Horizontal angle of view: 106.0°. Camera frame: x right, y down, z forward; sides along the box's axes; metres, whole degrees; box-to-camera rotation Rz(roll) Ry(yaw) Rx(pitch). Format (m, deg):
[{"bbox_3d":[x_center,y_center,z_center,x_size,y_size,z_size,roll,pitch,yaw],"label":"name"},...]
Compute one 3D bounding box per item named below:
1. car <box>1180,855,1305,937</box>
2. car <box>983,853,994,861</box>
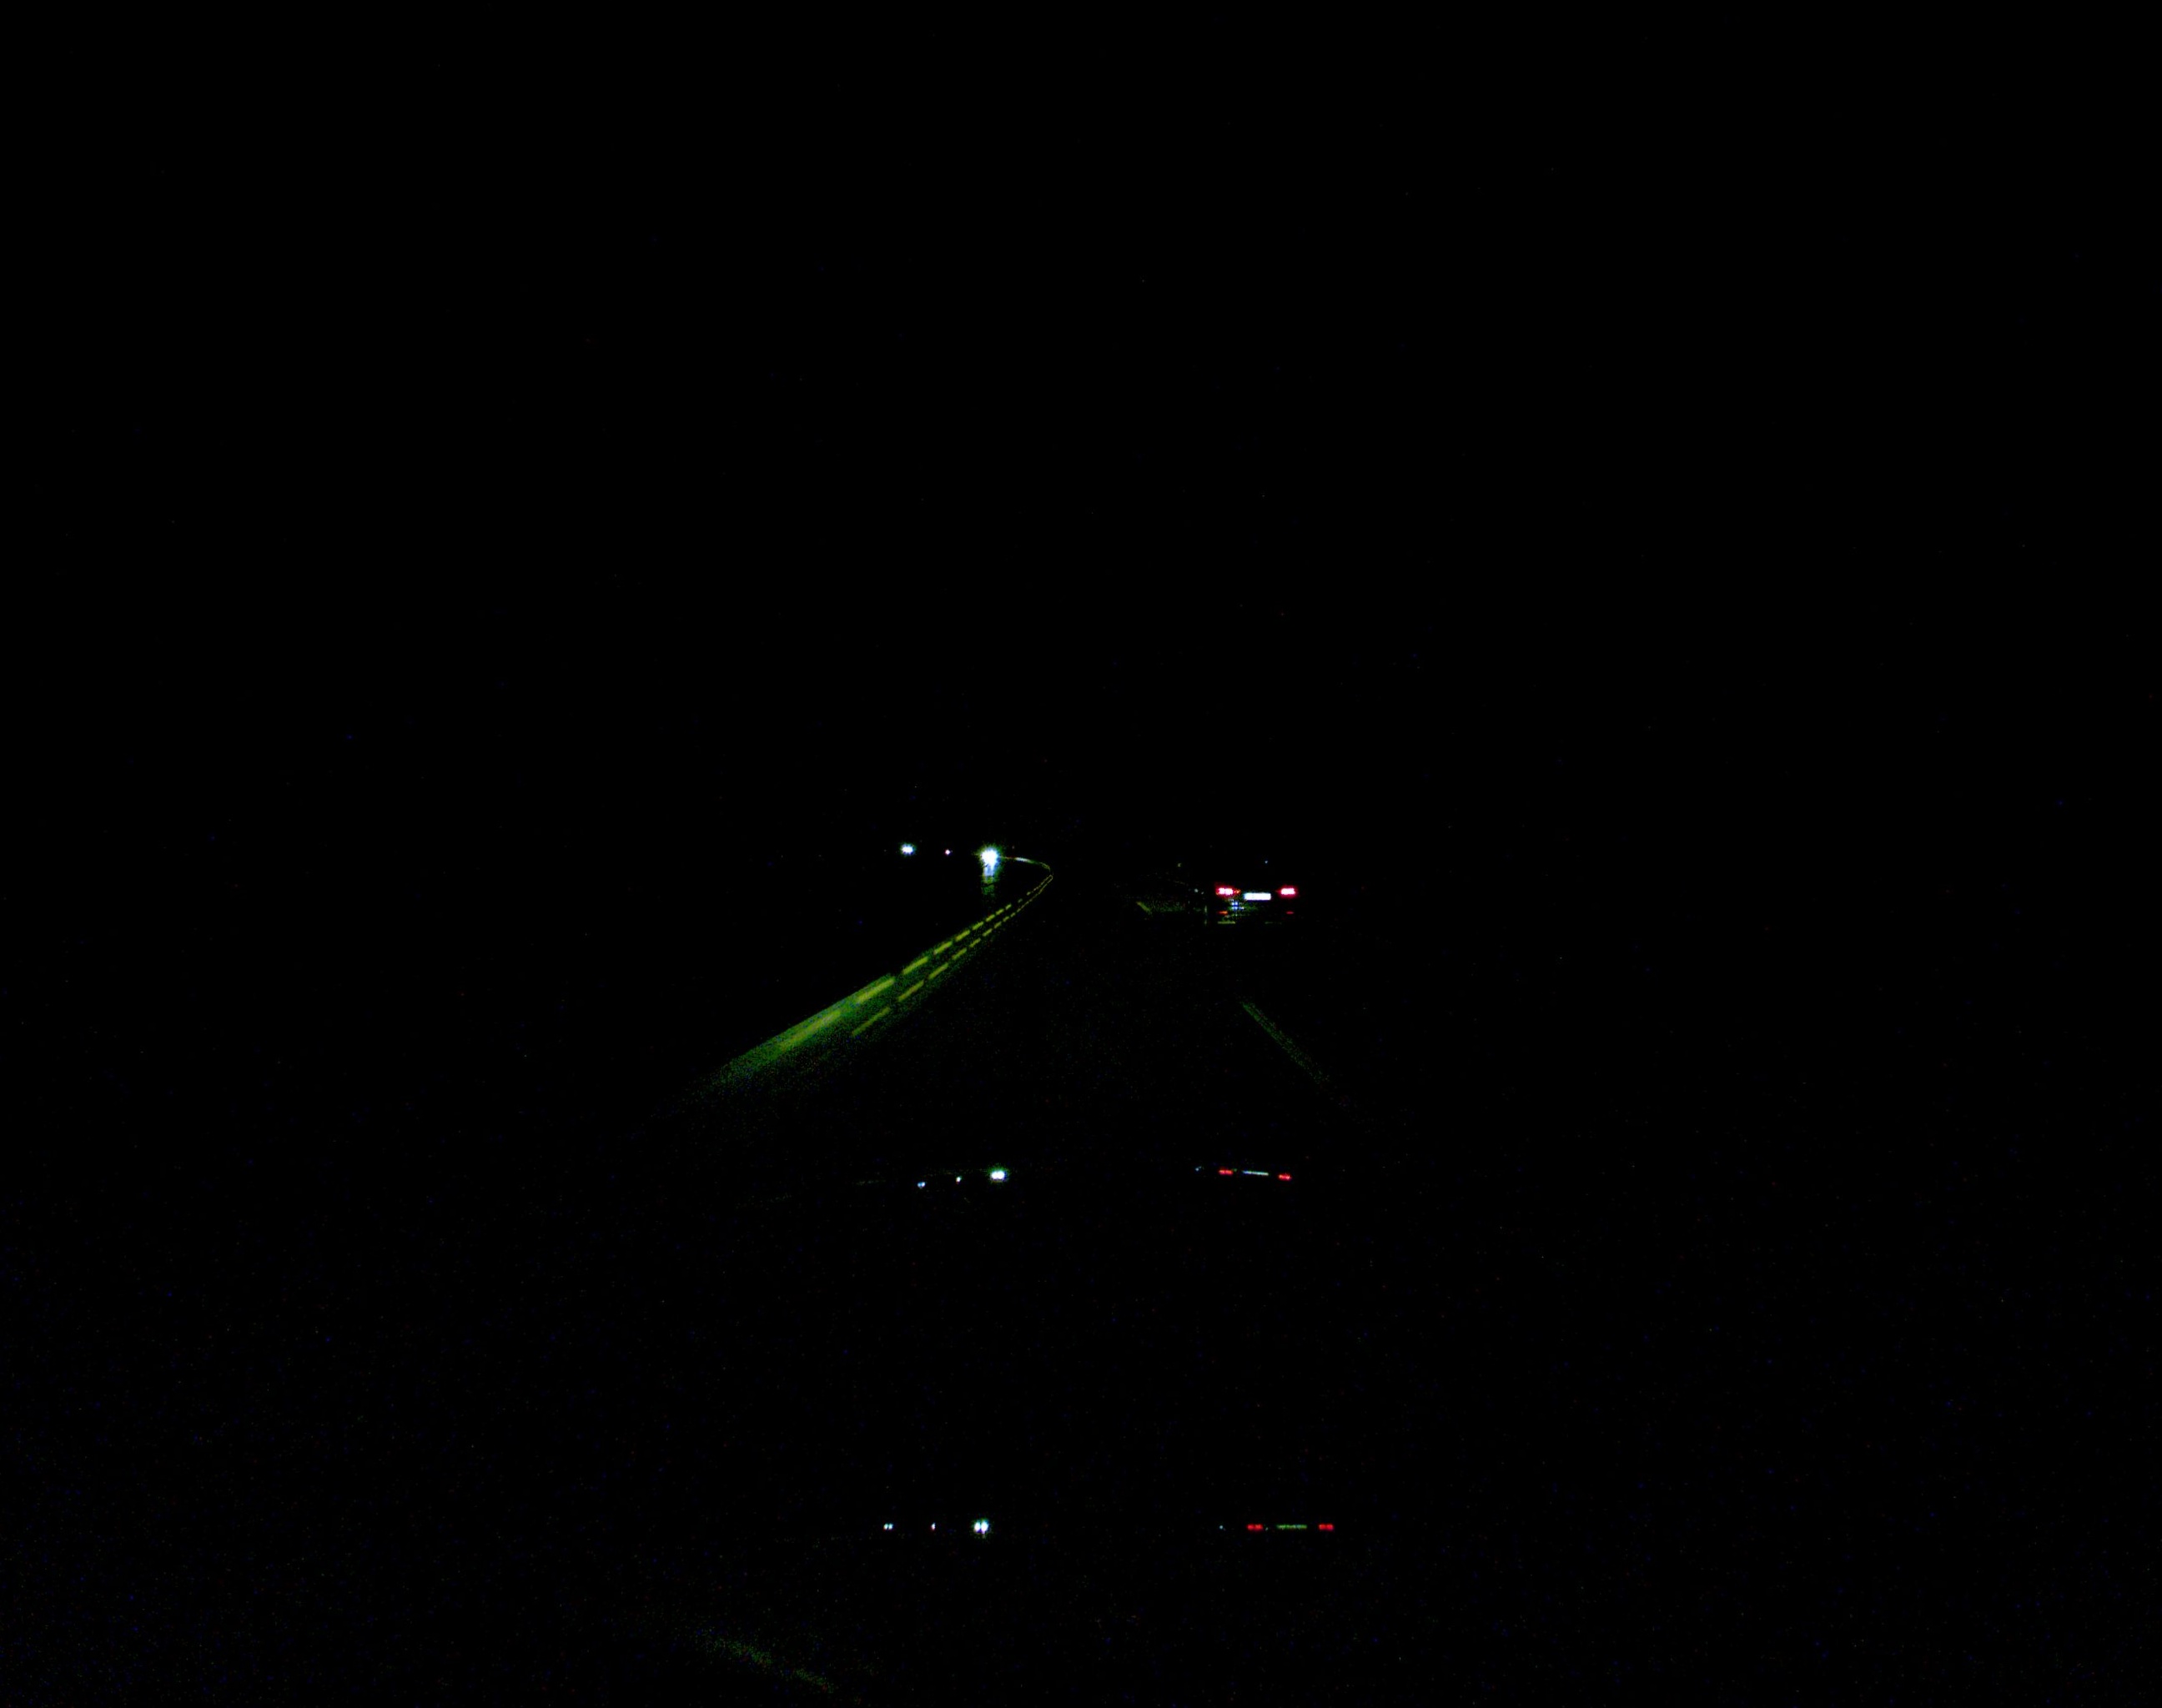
[{"bbox_3d":[3.348,0.795,17.794,1.802,1.426,4.875,0,1,0],"label":"car"},{"bbox_3d":[-18.598,0.602,164.211,2.012,1.639,4.847,0,-1,-9],"label":"car"}]
